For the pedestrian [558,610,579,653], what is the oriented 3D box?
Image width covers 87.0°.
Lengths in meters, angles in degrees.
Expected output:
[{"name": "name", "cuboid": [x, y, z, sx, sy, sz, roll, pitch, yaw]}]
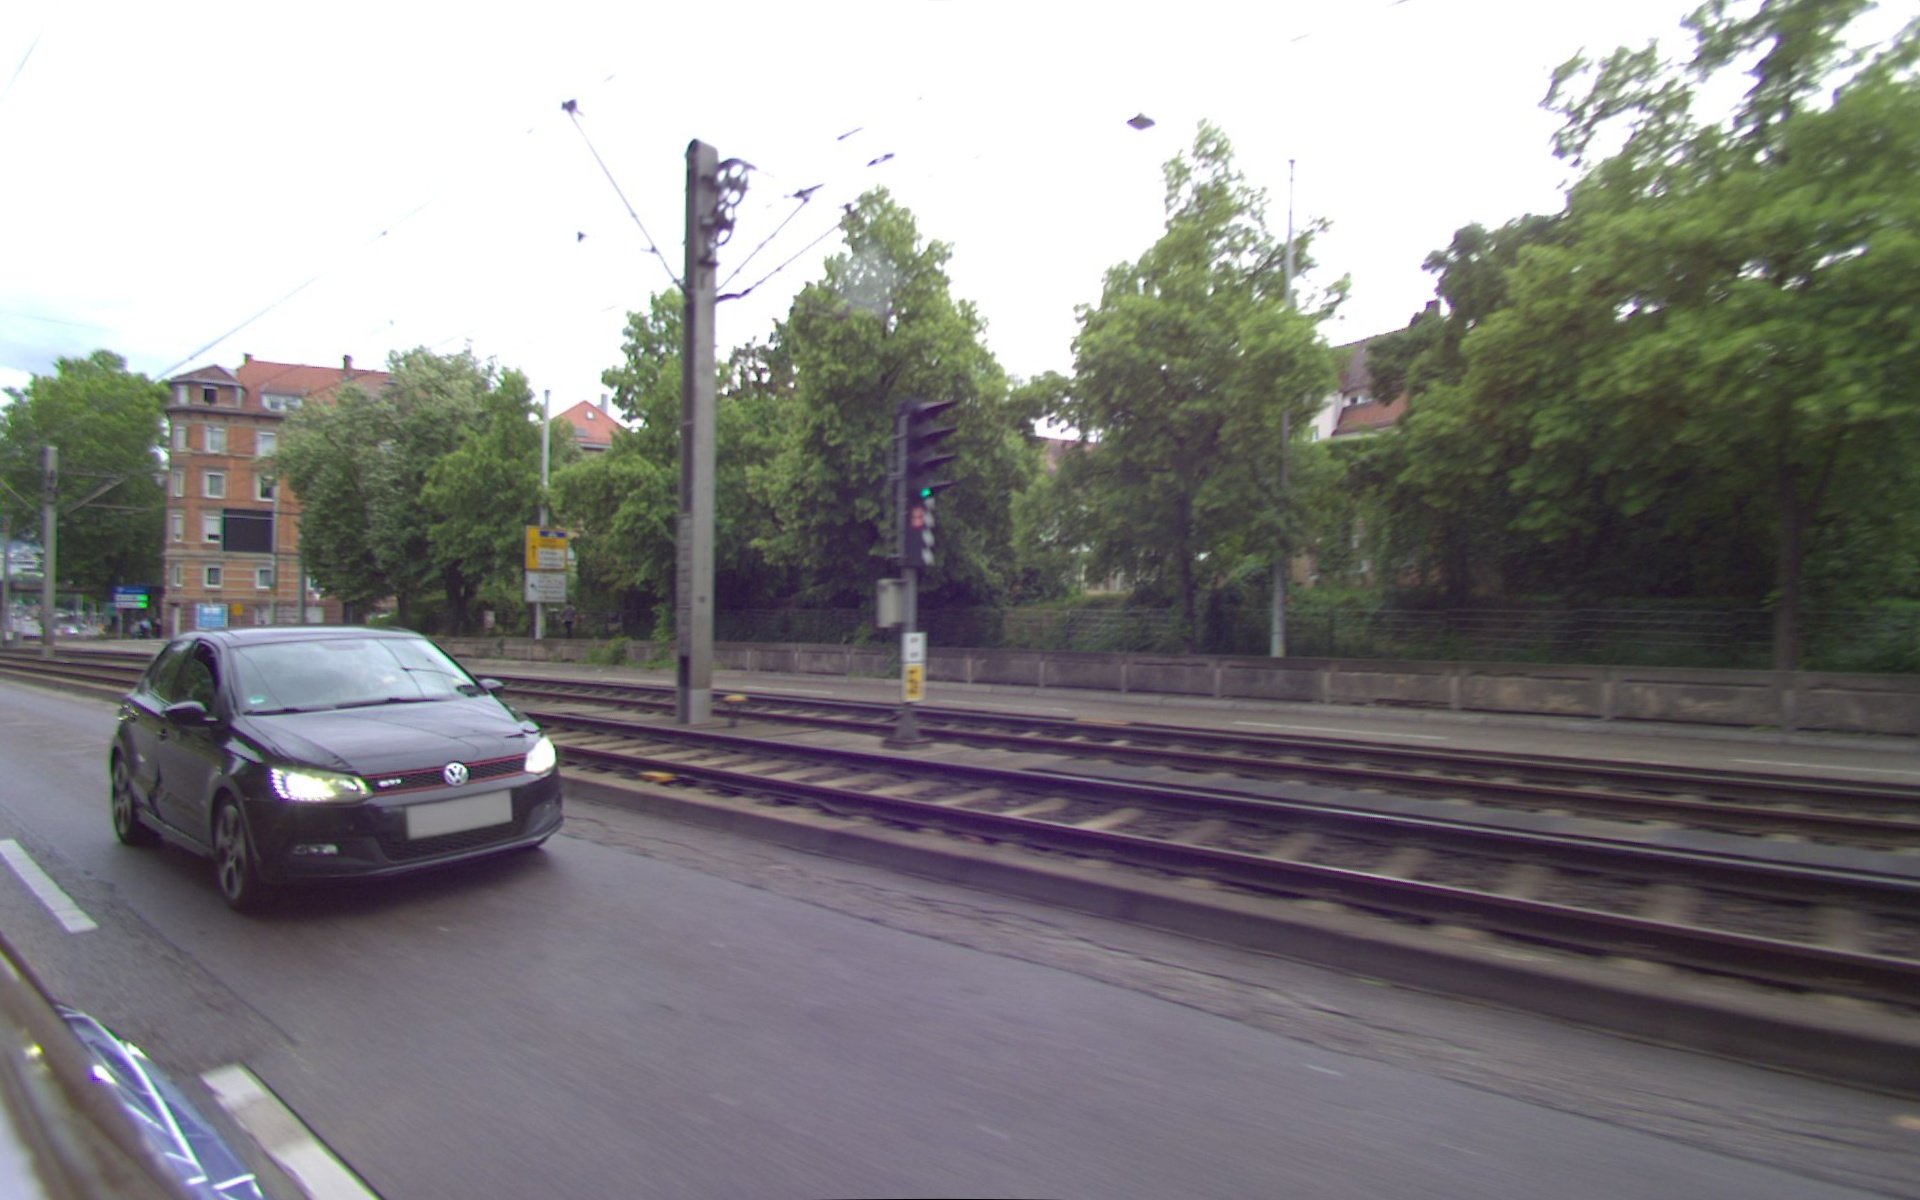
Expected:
[{"name": "pedestrian", "cuboid": [-17.339, 1.390, 44.865, 0.653, 1.917, 0.590, -1, 0, 37]}]

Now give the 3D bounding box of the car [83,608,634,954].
[{"name": "car", "cuboid": [-3.934, 0.837, 6.359, 3.961, 1.497, 1.776, -2, -2, 40]}]

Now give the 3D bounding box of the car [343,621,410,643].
[{"name": "car", "cuboid": [-44.372, 2.417, 76.967, 4.362, 1.610, 1.847, 0, -1, -30]}]
